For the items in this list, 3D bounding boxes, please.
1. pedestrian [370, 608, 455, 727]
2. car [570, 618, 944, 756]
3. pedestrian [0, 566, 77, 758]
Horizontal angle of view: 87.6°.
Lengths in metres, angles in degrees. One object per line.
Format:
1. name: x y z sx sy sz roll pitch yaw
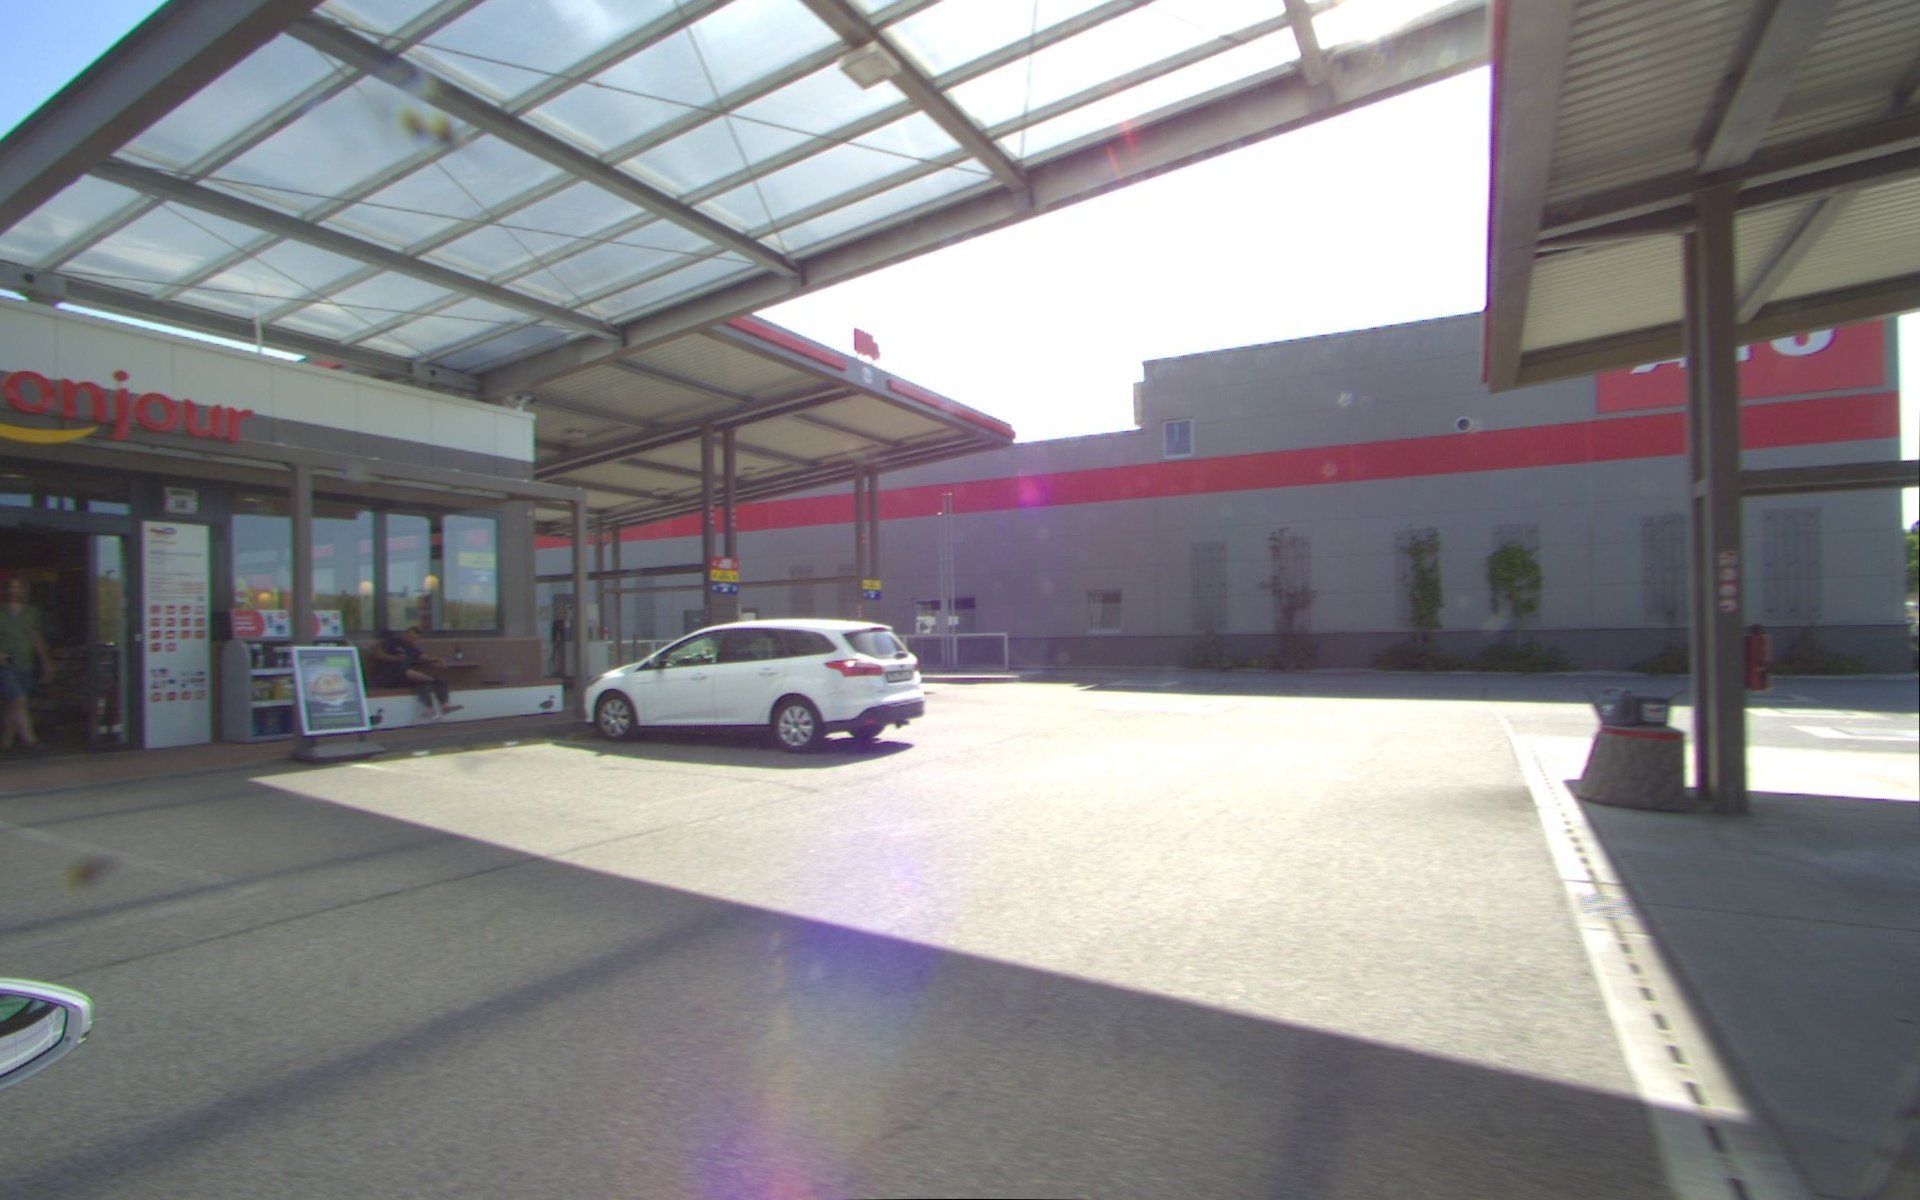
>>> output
1. pedestrian: -6.924 0.835 12.682 0.662 1.450 0.701 0 0 27
2. car: -2.498 0.975 12.369 4.247 1.476 1.832 -1 -1 22
3. pedestrian: -9.360 0.602 9.927 0.850 1.821 0.700 0 0 31
